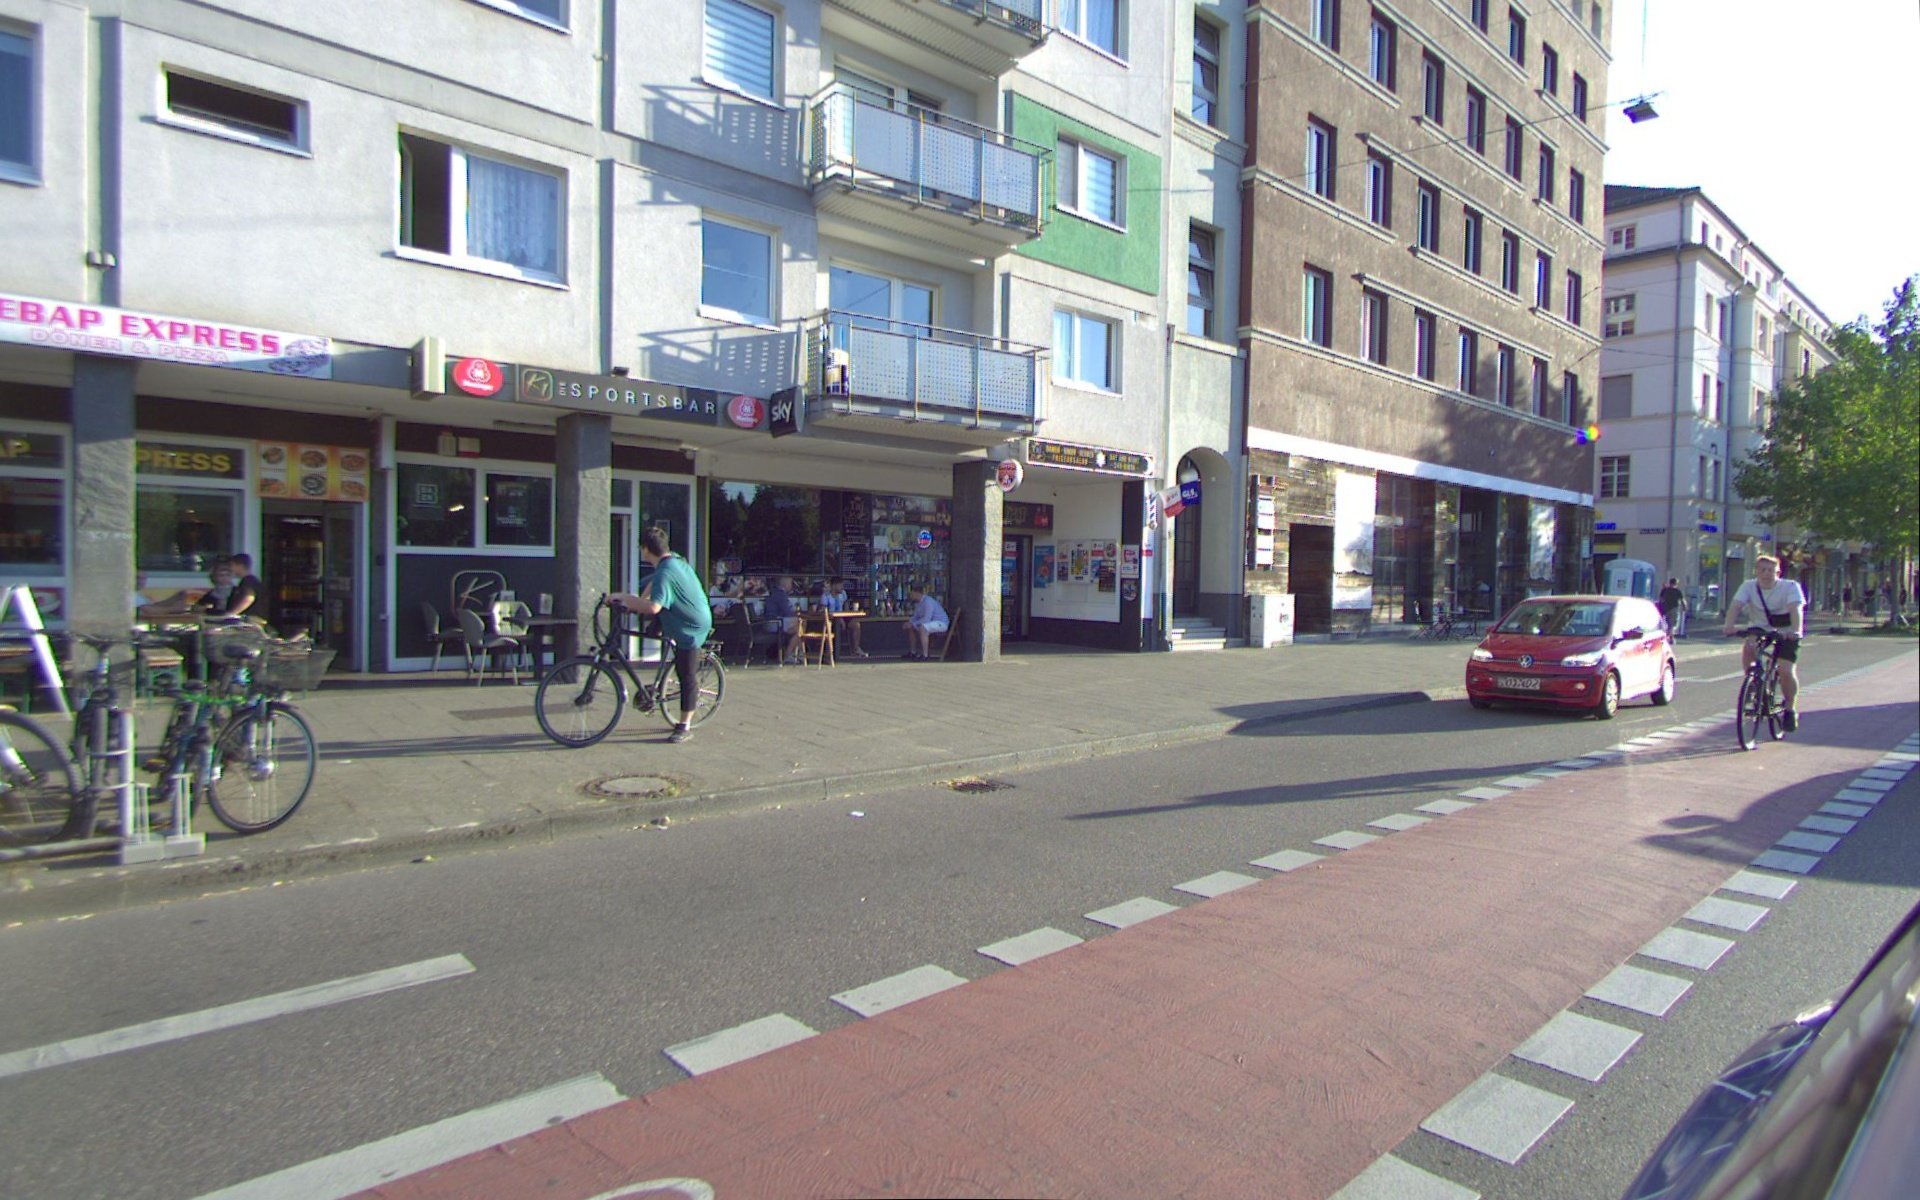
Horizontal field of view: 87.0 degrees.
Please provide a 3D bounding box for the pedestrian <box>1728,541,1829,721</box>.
[{"bbox_3d":[8.016,0.285,9.911,0.828,1.669,0.639,0,0,-41],"label":"pedestrian"}]

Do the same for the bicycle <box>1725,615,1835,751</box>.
[{"bbox_3d":[7.990,0.755,9.834,1.817,1.173,0.529,0,0,-41],"label":"bicycle"}]

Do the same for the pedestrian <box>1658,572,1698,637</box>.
[{"bbox_3d":[18.260,0.103,25.737,0.869,1.616,0.602,0,1,-41],"label":"pedestrian"}]

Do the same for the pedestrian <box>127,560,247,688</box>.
[{"bbox_3d":[-8.133,0.233,10.680,0.634,1.289,0.861,1,1,-3],"label":"pedestrian"}]

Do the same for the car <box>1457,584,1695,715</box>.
[{"bbox_3d":[8.189,0.552,13.370,3.477,1.499,1.686,0,0,-40],"label":"car"}]

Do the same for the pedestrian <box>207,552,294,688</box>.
[{"bbox_3d":[-7.401,0.191,10.577,0.456,1.375,0.631,1,1,3],"label":"pedestrian"}]

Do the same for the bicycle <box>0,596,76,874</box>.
[{"bbox_3d":[-5.034,0.620,5.288,0.558,1.139,1.870,0,4,-43],"label":"bicycle"}]

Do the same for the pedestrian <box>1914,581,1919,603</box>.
[{"bbox_3d":[64.553,-0.521,68.210,0.350,1.458,0.311,0,1,-33],"label":"pedestrian"}]

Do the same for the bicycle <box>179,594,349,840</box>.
[{"bbox_3d":[-4.225,0.599,6.078,0.558,1.139,1.870,0,4,-43],"label":"bicycle"}]

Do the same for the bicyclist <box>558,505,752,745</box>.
[{"bbox_3d":[-2.529,0.178,8.450,1.362,1.830,0.743,0,1,-43],"label":"bicyclist"}]

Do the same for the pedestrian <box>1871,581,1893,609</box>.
[{"bbox_3d":[47.904,-0.252,52.573,0.908,1.458,0.727,0,1,-42],"label":"pedestrian"}]

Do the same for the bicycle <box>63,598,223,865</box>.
[{"bbox_3d":[-4.628,0.627,5.683,0.558,1.139,1.870,0,4,-43],"label":"bicycle"}]

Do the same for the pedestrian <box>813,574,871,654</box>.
[{"bbox_3d":[-1.897,0.208,16.236,0.635,1.247,0.727,0,1,-39],"label":"pedestrian"}]

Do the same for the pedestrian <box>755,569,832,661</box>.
[{"bbox_3d":[-2.471,0.201,15.024,0.937,1.311,0.646,0,1,-38],"label":"pedestrian"}]

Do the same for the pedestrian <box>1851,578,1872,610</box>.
[{"bbox_3d":[47.596,-0.312,53.438,0.908,1.697,0.727,0,1,-42],"label":"pedestrian"}]

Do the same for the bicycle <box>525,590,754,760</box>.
[{"bbox_3d":[-2.590,0.546,8.389,0.564,1.191,1.852,4,4,33],"label":"bicycle"}]

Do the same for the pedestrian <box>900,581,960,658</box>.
[{"bbox_3d":[-0.469,0.285,15.786,0.715,1.166,0.605,0,1,-41],"label":"pedestrian"}]
